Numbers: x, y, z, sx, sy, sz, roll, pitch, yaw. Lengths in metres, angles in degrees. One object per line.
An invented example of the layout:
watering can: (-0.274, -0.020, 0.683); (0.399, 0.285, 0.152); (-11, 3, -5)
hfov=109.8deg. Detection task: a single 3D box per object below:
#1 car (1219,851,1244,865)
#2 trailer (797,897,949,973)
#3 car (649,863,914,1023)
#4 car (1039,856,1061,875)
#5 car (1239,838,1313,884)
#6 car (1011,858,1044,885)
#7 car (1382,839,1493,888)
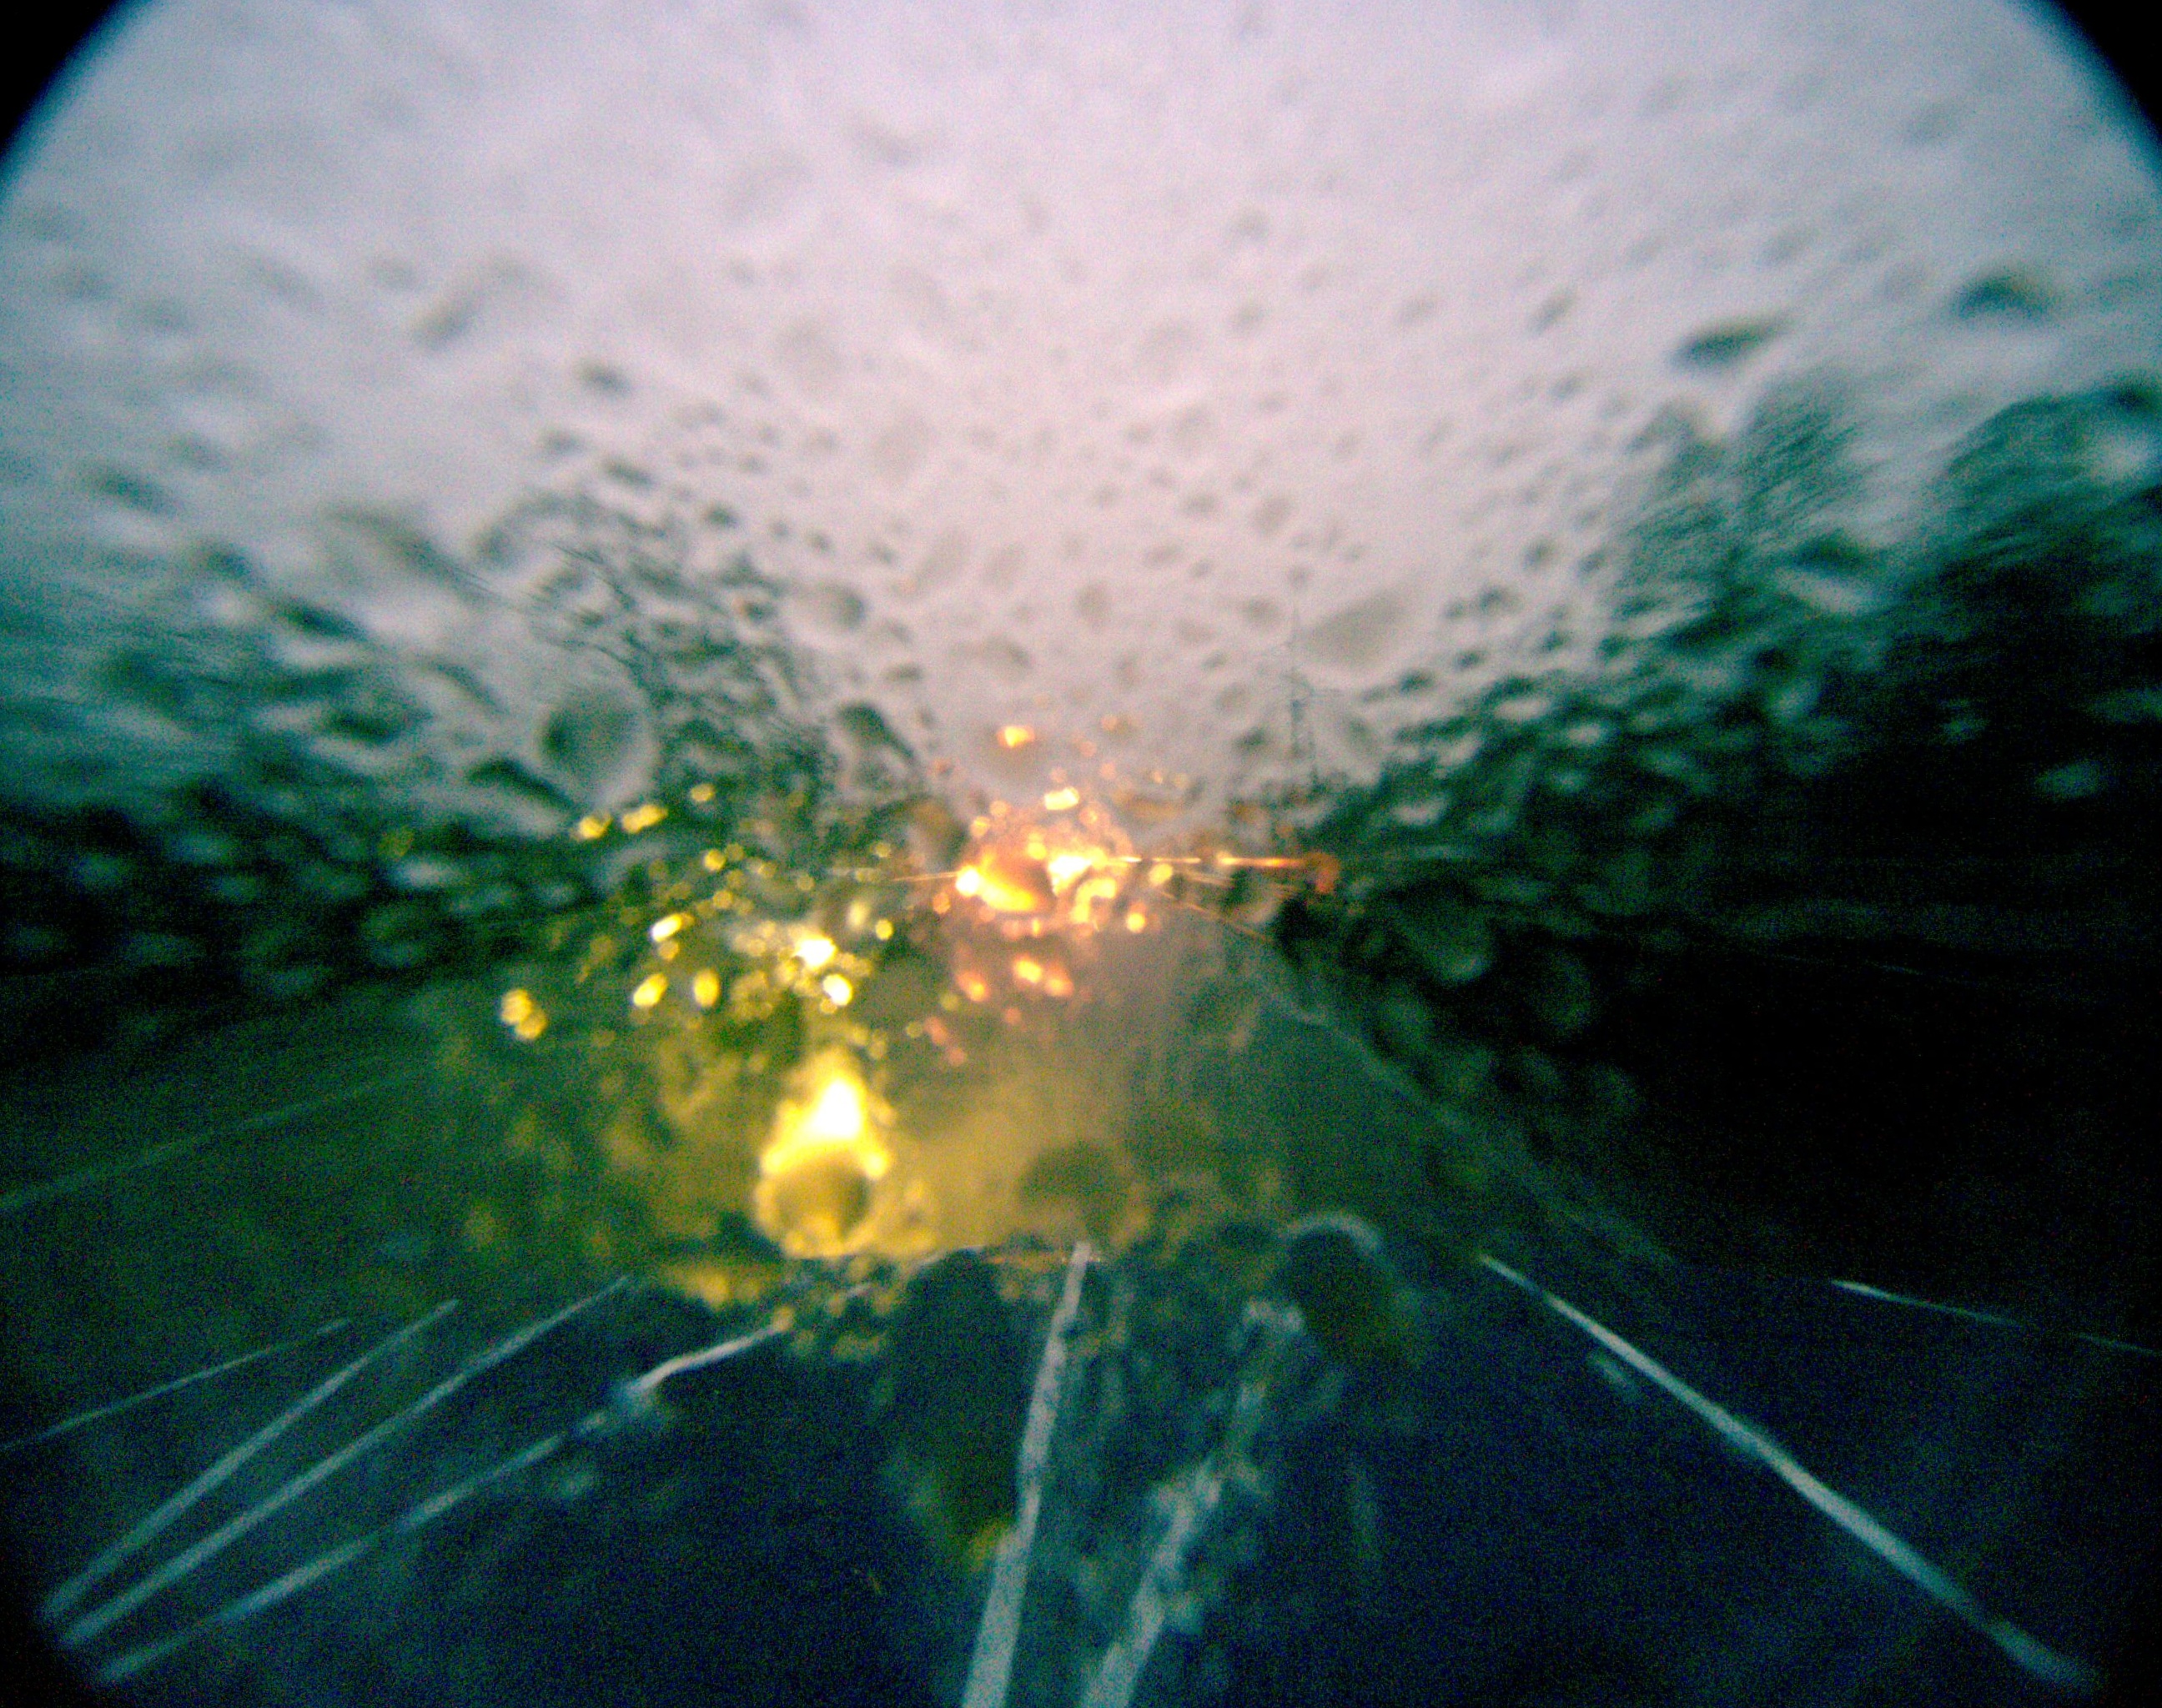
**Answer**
car: (15.177, 0.375, 76.715); (1.708, 1.343, 4.156); (-3, 0, 0)
trailer: (-3.436, 1.317, 13.083); (1.752, 0.919, 2.951); (-2, 0, 0)
car: (-3.473, 0.932, 9.665); (1.791, 1.508, 3.811); (-2, 0, 0)
car: (-2.751, 1.013, 67.404); (1.682, 1.500, 3.808); (-4, 0, 0)
car: (7.548, 0.247, 29.825); (1.731, 1.580, 4.416); (-4, 0, 1)
car: (-3.191, 1.034, 45.974); (1.598, 1.482, 3.594); (-4, 0, 0)
car: (12.222, 0.300, 26.392); (1.731, 1.452, 4.416); (-4, 0, 1)
